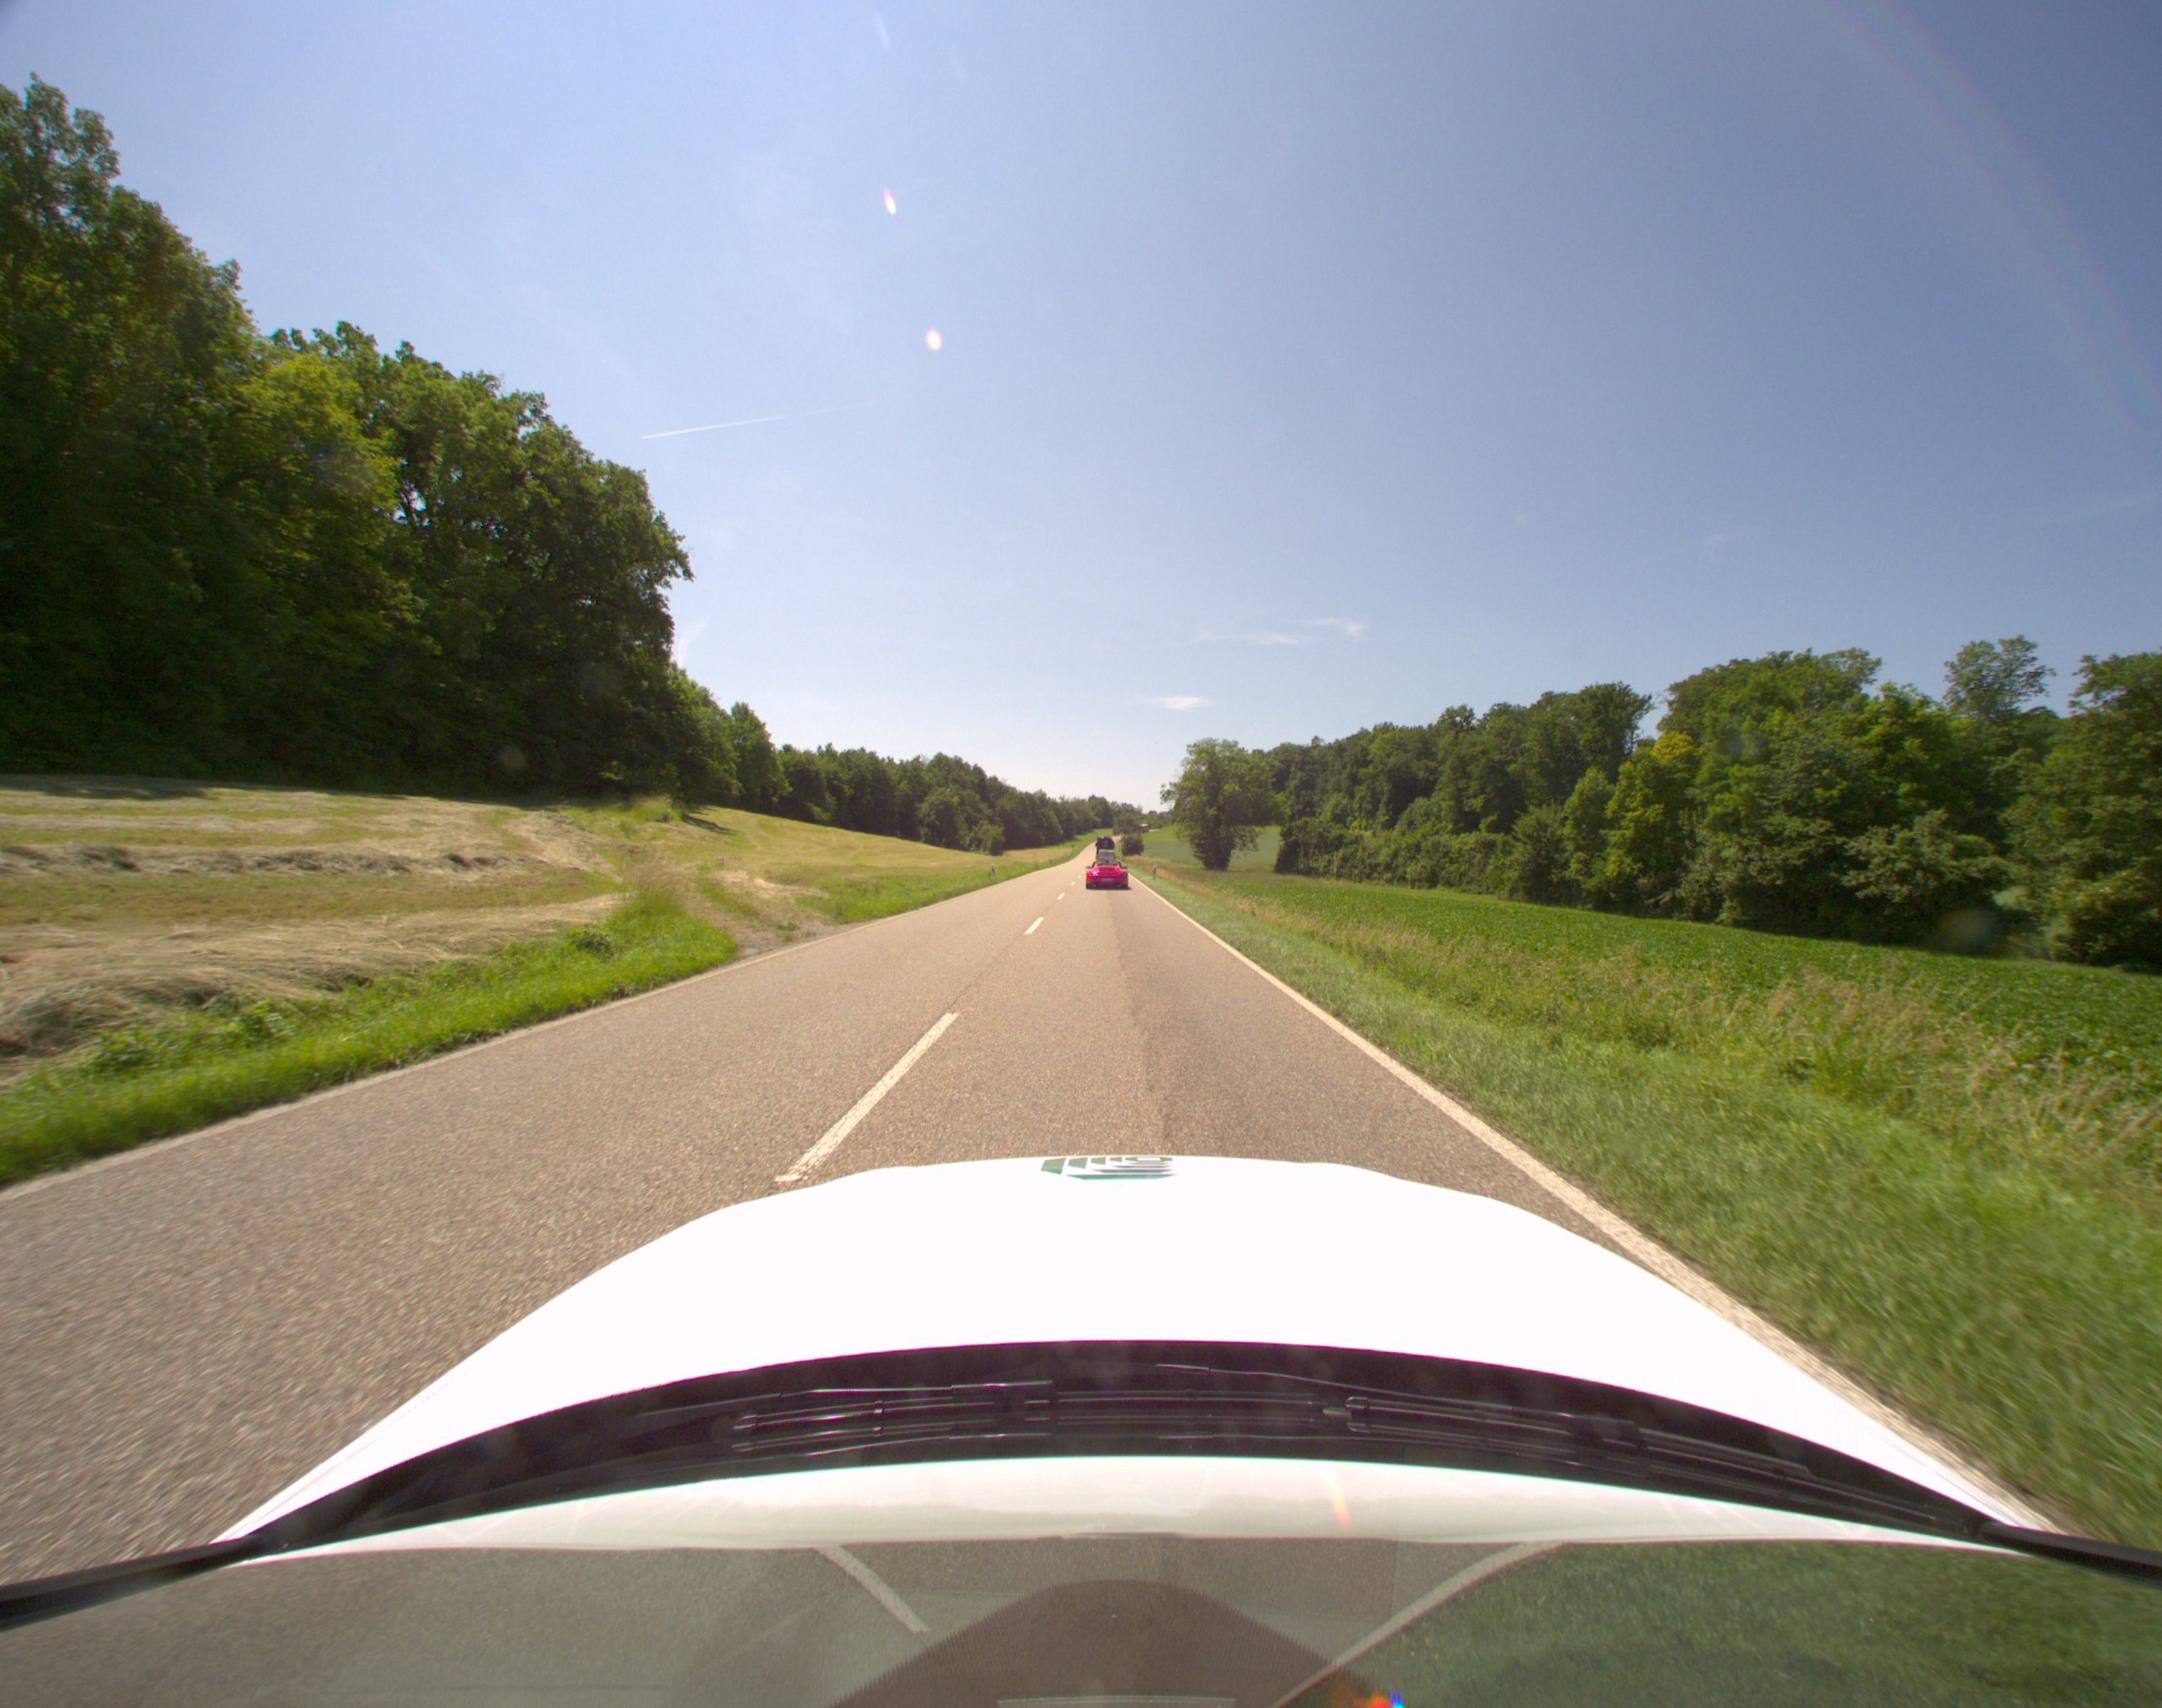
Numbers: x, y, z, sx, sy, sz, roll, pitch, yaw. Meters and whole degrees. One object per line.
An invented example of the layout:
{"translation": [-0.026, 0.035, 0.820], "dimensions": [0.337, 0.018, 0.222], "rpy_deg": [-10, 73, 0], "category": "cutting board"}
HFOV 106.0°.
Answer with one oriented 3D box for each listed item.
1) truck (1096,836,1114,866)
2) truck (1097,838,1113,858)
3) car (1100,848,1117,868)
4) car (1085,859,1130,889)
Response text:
{"translation": [3.420, -0.531, 119.718], "dimensions": [2.396, 4.049, 12.553], "rpy_deg": [-1, 2, 1], "category": "truck"}
{"translation": [6.005, -1.532, 205.359], "dimensions": [3.713, 4.659, 12.031], "rpy_deg": [0, 2, 0], "category": "truck"}
{"translation": [2.799, 0.386, 83.571], "dimensions": [1.672, 1.900, 4.012], "rpy_deg": [-1, 0, 2], "category": "car"}
{"translation": [1.177, 0.857, 36.842], "dimensions": [1.876, 1.255, 4.010], "rpy_deg": [-1, 0, 1], "category": "car"}
